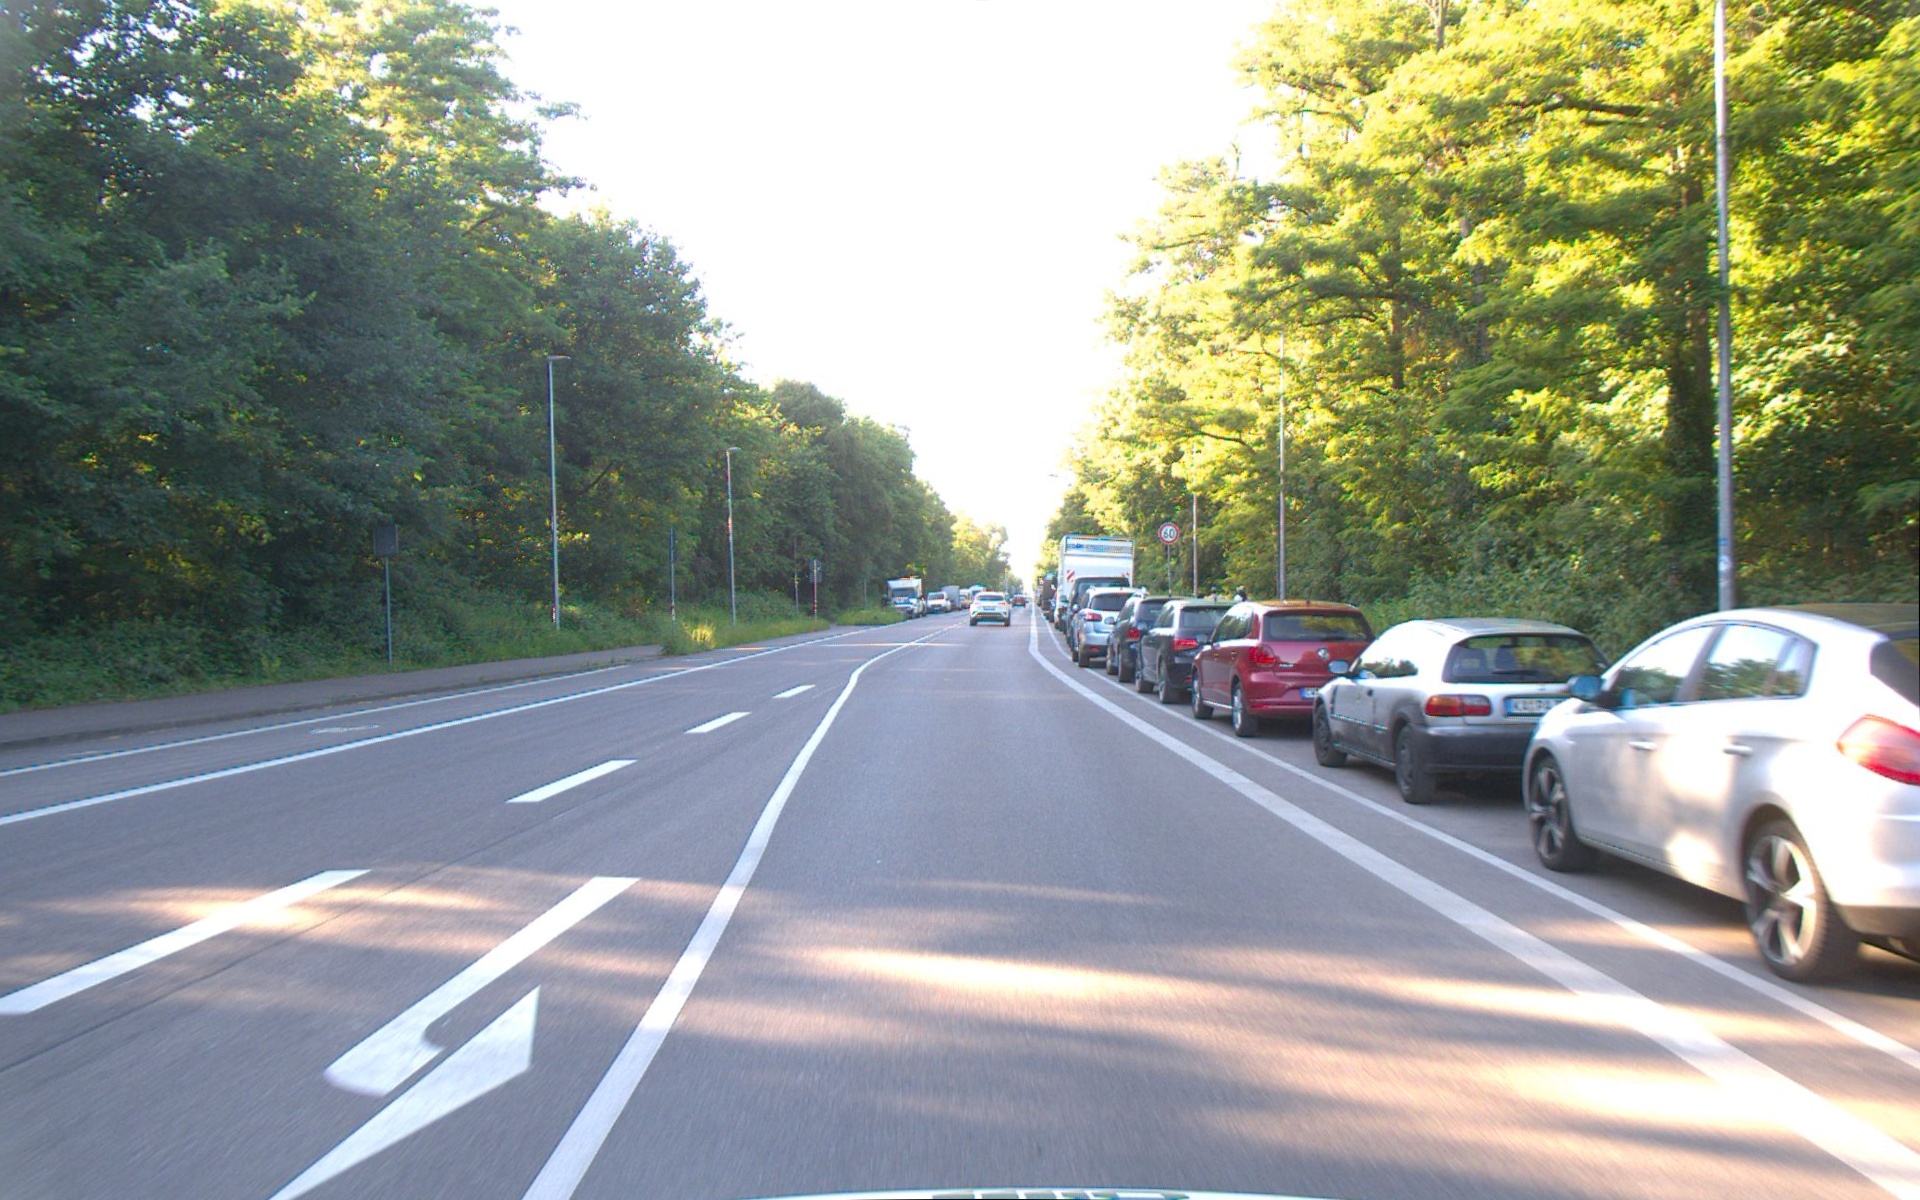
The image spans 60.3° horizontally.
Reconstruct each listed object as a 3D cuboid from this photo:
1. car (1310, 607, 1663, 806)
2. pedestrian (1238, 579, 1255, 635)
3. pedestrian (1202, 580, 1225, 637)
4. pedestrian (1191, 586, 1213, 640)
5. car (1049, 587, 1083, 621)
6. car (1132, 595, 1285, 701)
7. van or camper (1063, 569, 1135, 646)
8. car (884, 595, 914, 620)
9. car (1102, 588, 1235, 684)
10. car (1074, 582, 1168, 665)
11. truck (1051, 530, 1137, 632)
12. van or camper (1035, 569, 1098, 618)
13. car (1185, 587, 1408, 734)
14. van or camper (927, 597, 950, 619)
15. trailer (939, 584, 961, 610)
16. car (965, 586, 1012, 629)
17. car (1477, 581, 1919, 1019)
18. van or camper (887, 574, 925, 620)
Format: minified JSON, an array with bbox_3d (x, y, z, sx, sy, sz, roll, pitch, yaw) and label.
[{"bbox_3d":[4.071,0.750,13.423,1.595,1.342,3.840,0,0,-1],"label":"car"},{"bbox_3d":[8.375,0.204,48.331,0.386,1.616,0.482,-1,0,2],"label":"pedestrian"},{"bbox_3d":[8.081,0.269,52.747,0.605,1.795,0.907,-1,0,2],"label":"pedestrian"},{"bbox_3d":[7.351,0.385,50.280,0.552,1.616,0.482,-1,0,2],"label":"pedestrian"},{"bbox_3d":[5.575,0.173,86.845,1.676,1.694,4.553,1,0,4],"label":"car"},{"bbox_3d":[3.565,0.645,24.284,1.562,1.426,3.797,0,0,-2],"label":"car"},{"bbox_3d":[3.935,0.192,47.450,1.858,2.049,4.588,-1,0,3],"label":"van or camper"},{"bbox_3d":[-3.993,0.475,108.920,1.790,1.501,4.680,-2,0,0],"label":"car"},{"bbox_3d":[3.618,0.578,29.356,1.770,1.545,4.504,1,0,0],"label":"car"},{"bbox_3d":[3.346,0.452,34.993,1.761,1.623,4.030,-1,0,3],"label":"car"},{"bbox_3d":[4.980,-0.705,62.869,2.774,3.559,8.580,-1,0,2],"label":"truck"},{"bbox_3d":[6.482,-0.419,99.978,2.389,2.848,6.561,-2,0,16],"label":"van or camper"},{"bbox_3d":[3.735,0.620,18.964,1.584,1.494,3.722,1,0,-3],"label":"car"},{"bbox_3d":[-1.955,0.724,150.323,1.797,1.945,4.857,-2,0,2],"label":"van or camper"},{"bbox_3d":[-0.993,-0.332,173.432,1.952,2.643,4.417,-3,0,3],"label":"trailer"},{"bbox_3d":[1.342,0.304,75.527,1.986,1.872,4.030,-1,0,3],"label":"car"},{"bbox_3d":[4.111,0.696,8.132,1.701,1.551,4.359,-1,0,-1],"label":"car"},{"bbox_3d":[-3.747,-0.182,116.520,2.267,3.021,7.111,-3,0,0],"label":"van or camper"}]
